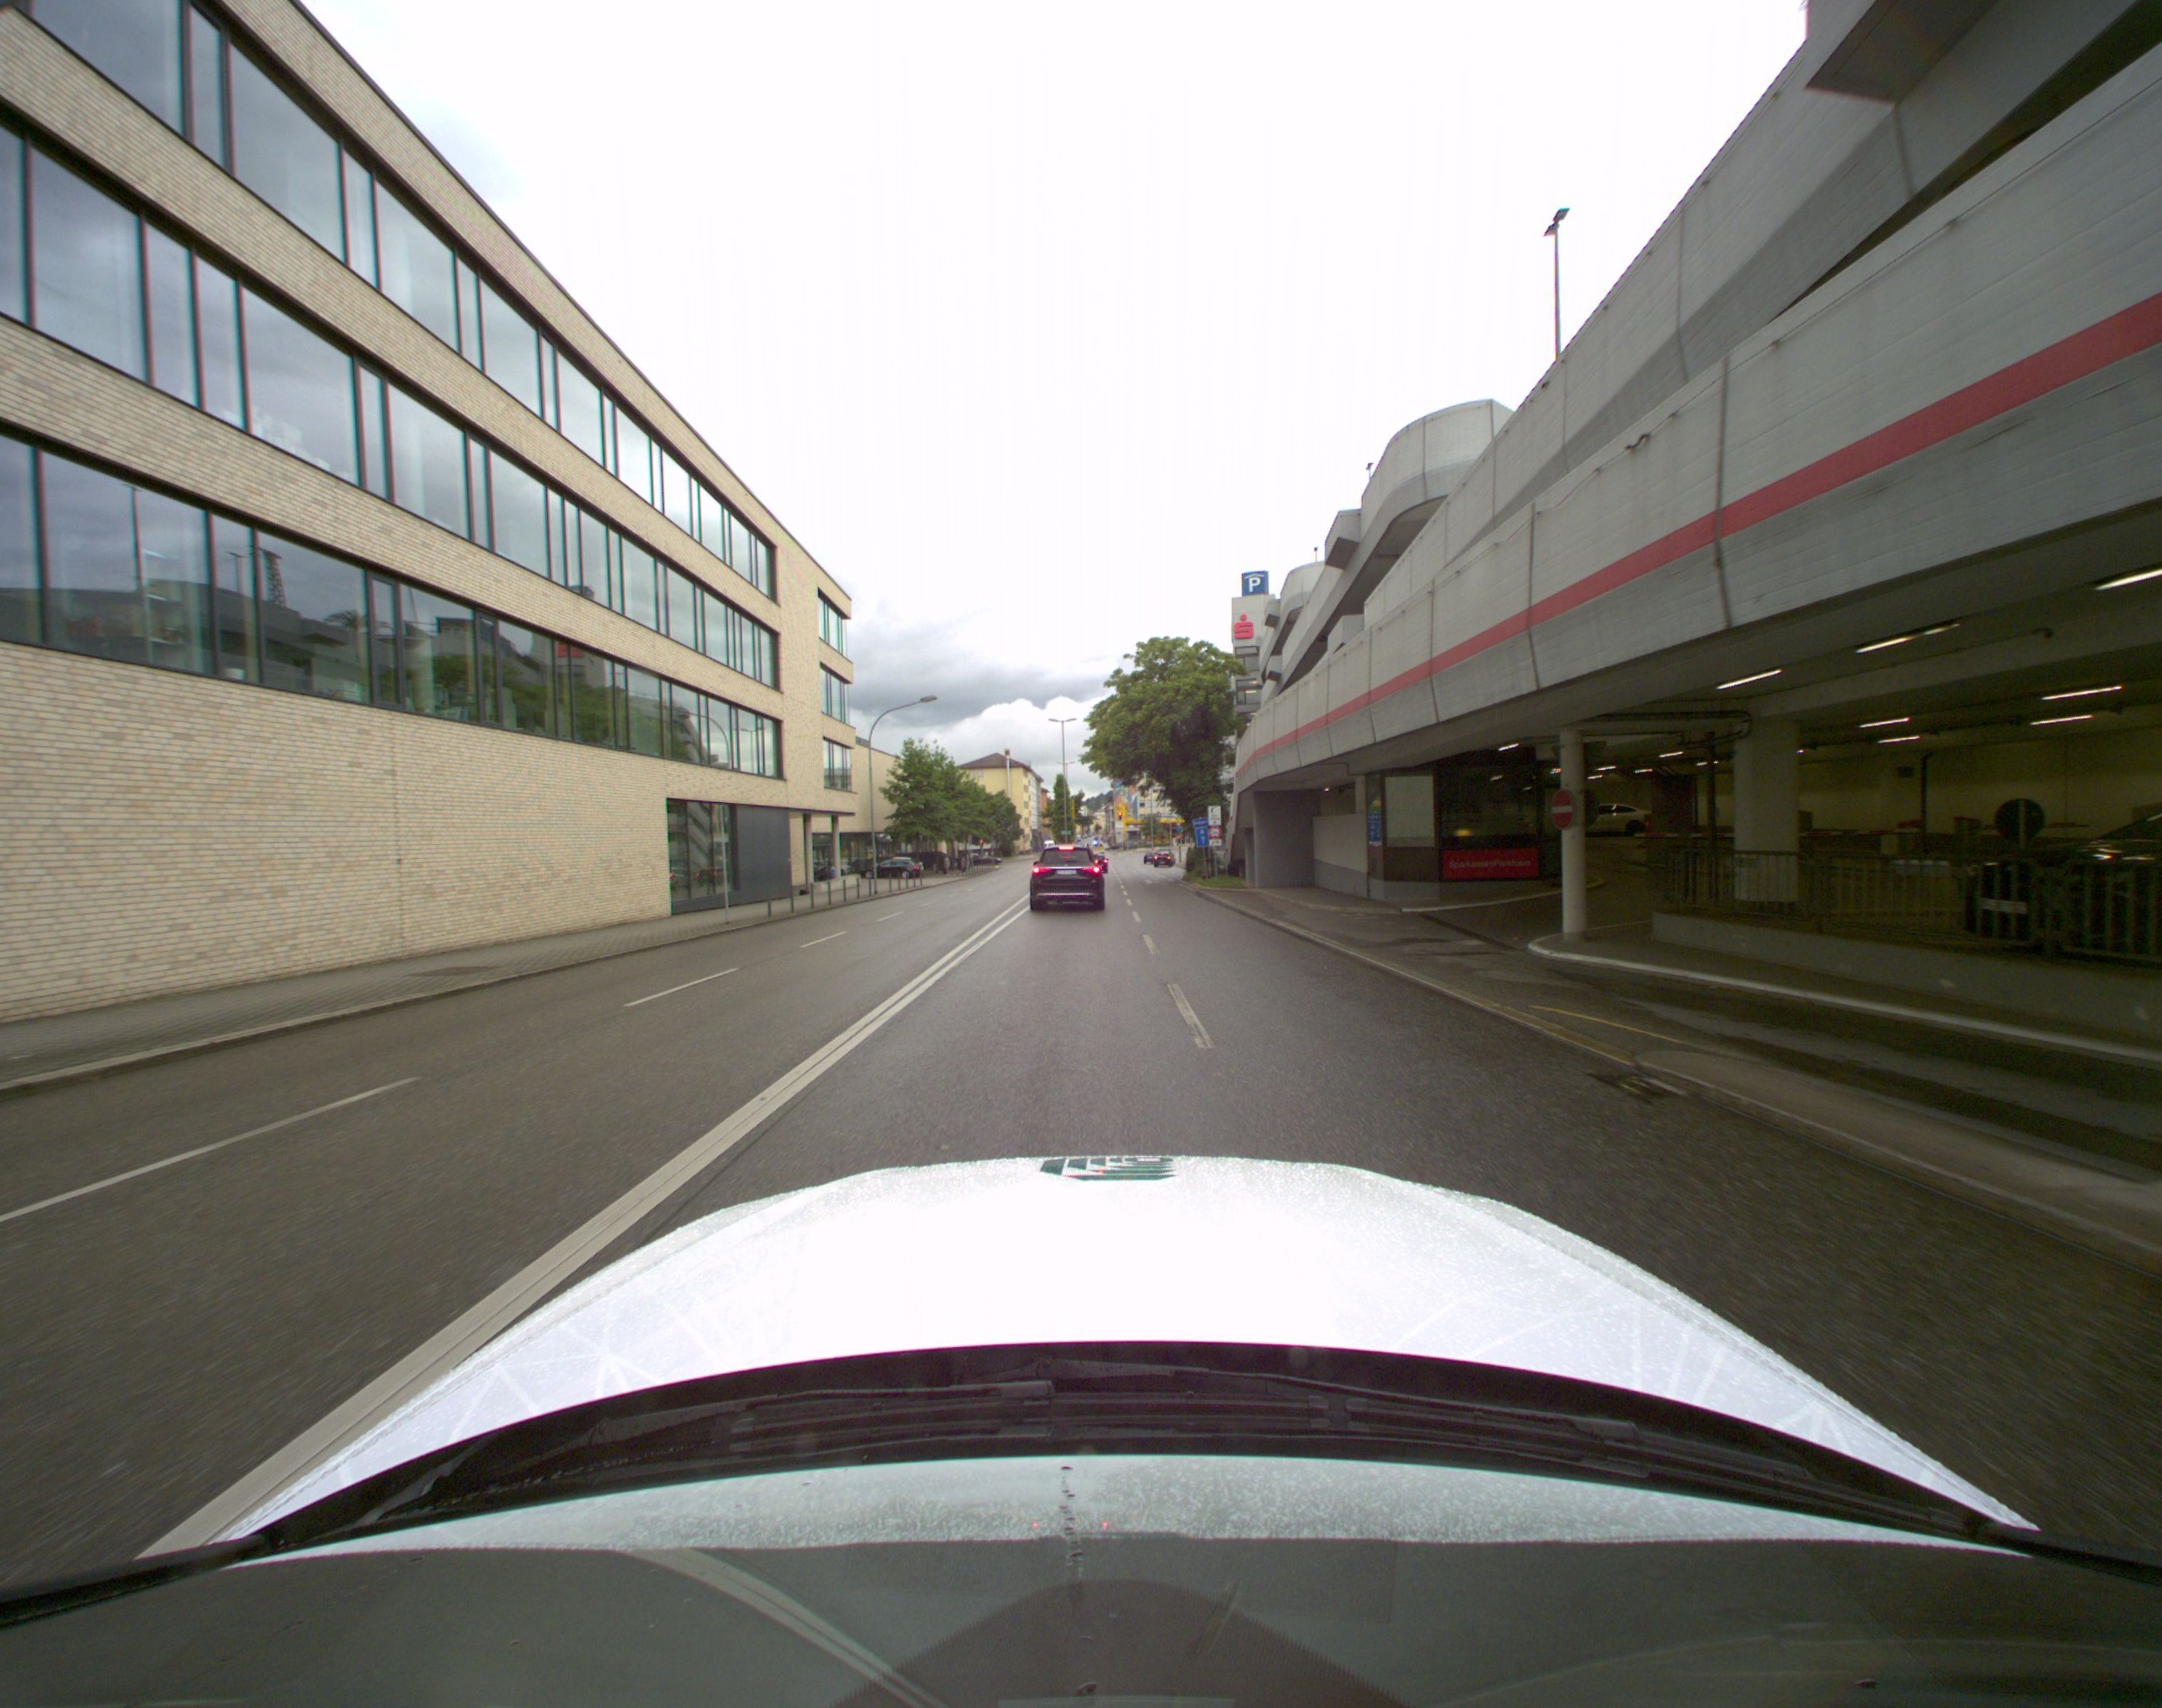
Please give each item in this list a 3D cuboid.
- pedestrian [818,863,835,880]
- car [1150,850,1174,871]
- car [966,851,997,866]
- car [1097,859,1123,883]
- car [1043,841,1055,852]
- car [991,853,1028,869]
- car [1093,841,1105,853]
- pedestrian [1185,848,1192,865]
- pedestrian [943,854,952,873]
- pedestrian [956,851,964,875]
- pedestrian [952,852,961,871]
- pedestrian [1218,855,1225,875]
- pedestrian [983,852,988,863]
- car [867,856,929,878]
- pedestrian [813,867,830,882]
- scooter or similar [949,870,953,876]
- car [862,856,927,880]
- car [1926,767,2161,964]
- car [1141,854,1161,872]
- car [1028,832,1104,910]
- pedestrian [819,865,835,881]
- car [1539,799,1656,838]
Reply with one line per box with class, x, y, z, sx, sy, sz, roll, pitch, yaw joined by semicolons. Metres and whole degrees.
pedestrian;-13.336;0.935;42.667;0.678;0.886;0.524;0;-1;1
car;8.169;0.637;82.456;1.987;2.013;3.999;-1;0;-1
car;-13.572;0.584;111.022;3.988;1.943;1.992;-2;0;-11
car;2.120;1.258;60.740;1.698;1.716;3.440;0;-1;-2
car;-5.865;-1.340;147.560;1.987;1.875;5.140;0;-1;0
car;-9.377;0.882;107.224;4.799;2.013;1.996;-2;0;-7
car;2.993;-1.211;136.666;1.987;2.013;4.000;0;1;0
pedestrian;11.752;0.287;89.253;0.657;1.917;0.731;0;-1;15
pedestrian;-11.683;0.832;71.359;0.673;1.697;0.479;1;-2;0
pedestrian;-10.305;0.766;69.391;0.586;2.014;0.749;0;-3;-1
pedestrian;-11.853;0.706;77.616;0.686;1.726;0.754;0;-3;1
pedestrian;11.219;0.866;64.992;0.548;1.532;0.489;0;-1;7
pedestrian;-13.339;0.476;113.755;0.709;1.462;0.598;0;-1;0
car;-14.130;1.015;63.031;4.408;1.573;1.997;0;1;-4
pedestrian;-13.303;1.037;41.704;0.595;0.786;0.760;0;-1;1
scooter or similar;-11.509;1.692;72.003;0.279;0.501;0.616;0;-1;1
car;-13.930;1.052;60.962;4.461;1.587;1.996;-2;0;-6
car;10.987;0.099;7.266;4.545;1.640;1.828;0;-1;12
car;8.107;1.080;94.669;1.987;2.014;3.999;0;-1;0
car;-0.375;0.465;23.253;1.987;2.014;3.999;0;-1;0
pedestrian;-13.306;0.981;42.751;0.584;0.845;0.727;-1;-1;1
car;23.048;-1.562;36.494;3.962;1.640;2.006;0;-1;10
